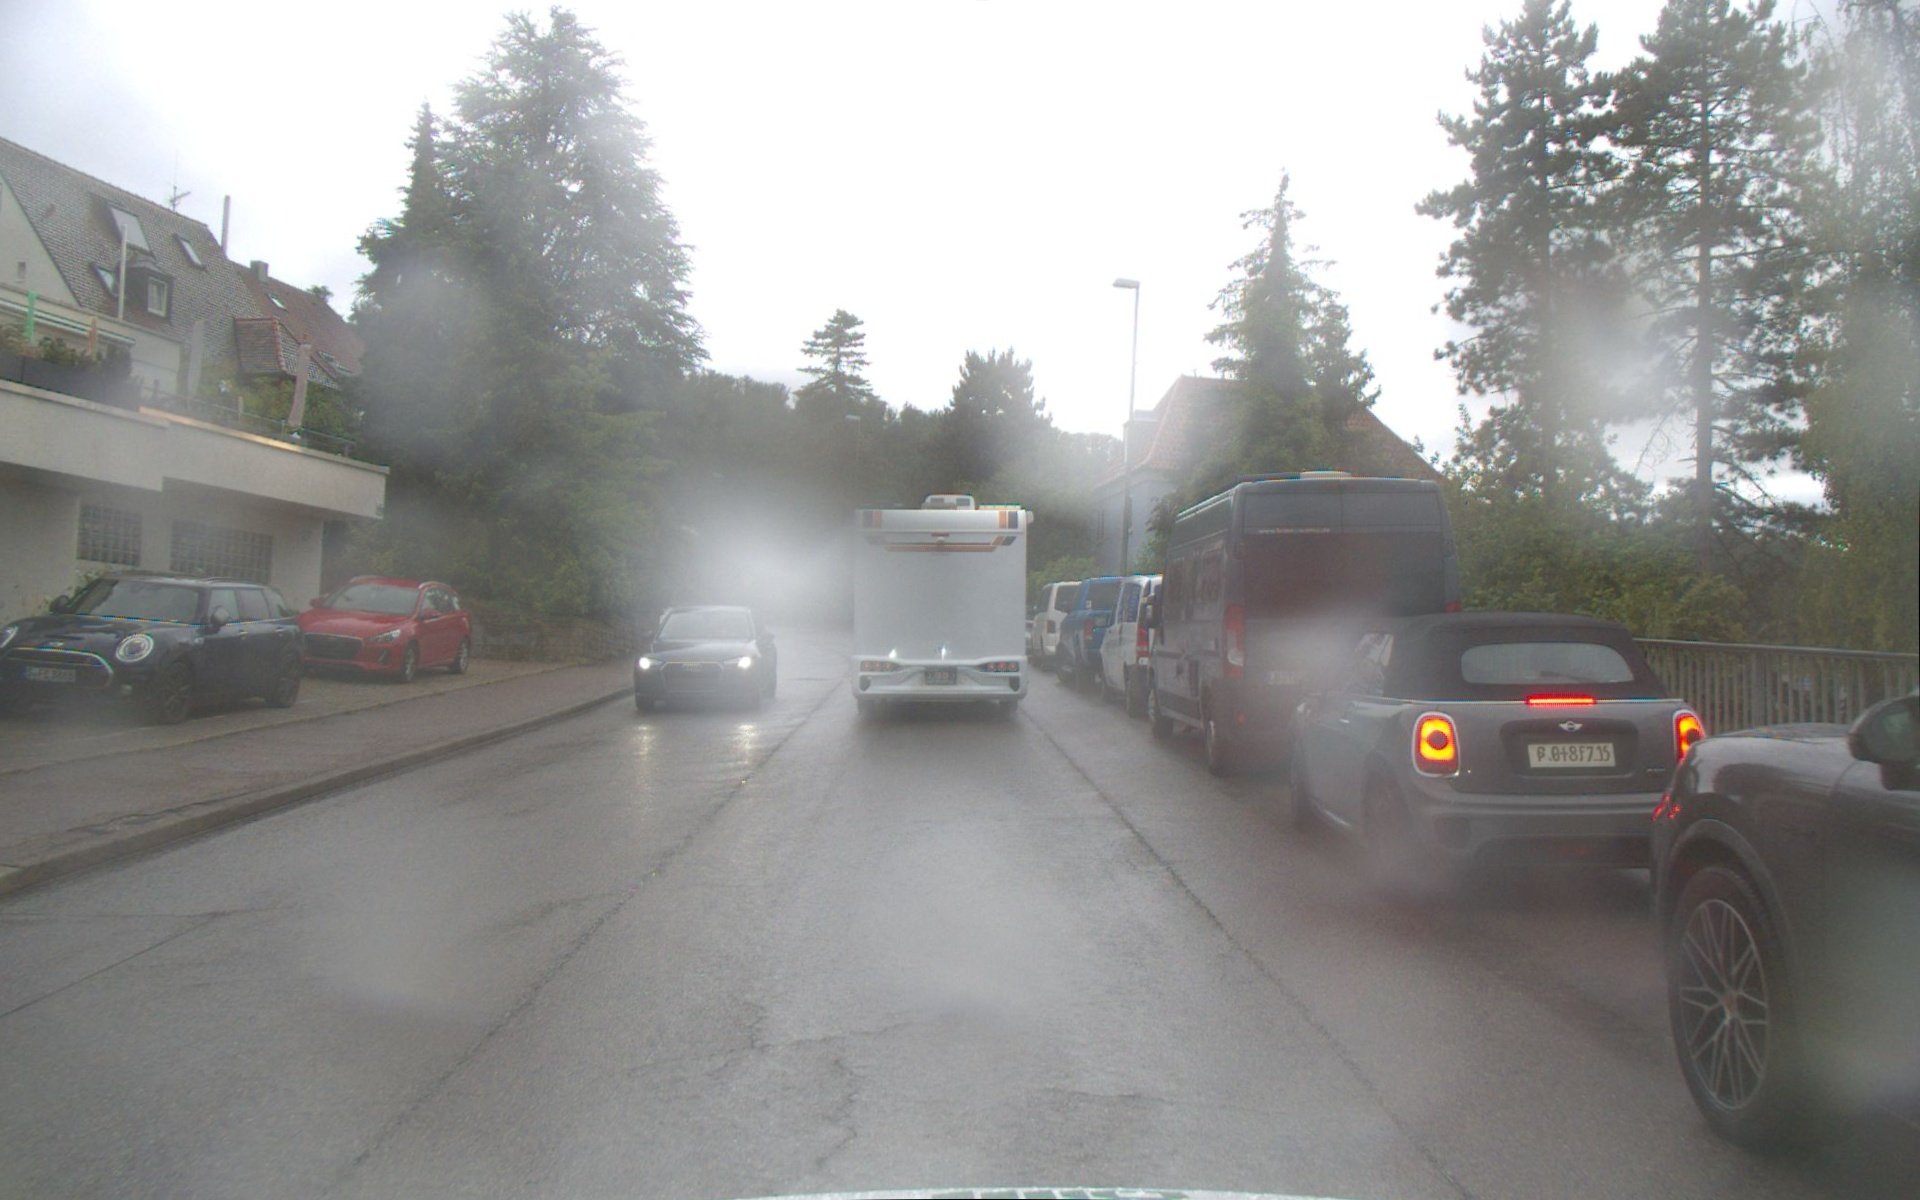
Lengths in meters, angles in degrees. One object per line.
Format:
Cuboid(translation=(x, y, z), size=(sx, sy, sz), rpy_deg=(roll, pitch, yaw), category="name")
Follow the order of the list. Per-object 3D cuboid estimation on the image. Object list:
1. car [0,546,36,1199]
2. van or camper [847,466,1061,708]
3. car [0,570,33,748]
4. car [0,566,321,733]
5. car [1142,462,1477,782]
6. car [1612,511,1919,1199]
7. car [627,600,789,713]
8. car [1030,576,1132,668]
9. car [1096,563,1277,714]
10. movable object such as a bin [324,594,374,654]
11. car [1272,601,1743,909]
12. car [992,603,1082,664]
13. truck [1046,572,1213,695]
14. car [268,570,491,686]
Cuboid(translation=(-2.846, 0.668, 1.334), size=(1.762, 1.594, 4.383), rpy_deg=(1, 0, -1), category="car")
Cuboid(translation=(-0.037, -0.072, 23.413), size=(2.562, 2.903, 6.030), rpy_deg=(2, -2, 1), category="van or camper")
Cuboid(translation=(-8.633, 0.449, 12.011), size=(1.575, 1.459, 3.957), rpy_deg=(4, 0, -2), category="car")
Cuboid(translation=(-8.364, 0.454, 17.393), size=(1.600, 1.420, 4.238), rpy_deg=(4, 0, -1), category="car")
Cuboid(translation=(3.122, 0.180, 16.200), size=(1.990, 2.549, 5.955), rpy_deg=(0, 0, 0), category="car")
Cuboid(translation=(3.085, 0.648, 3.124), size=(1.896, 1.701, 4.694), rpy_deg=(0, 0, 1), category="car")
Cuboid(translation=(-3.627, 0.763, 24.517), size=(1.738, 1.462, 4.361), rpy_deg=(-2, 0, -1), category="car")
Cuboid(translation=(2.743, 0.469, 38.537), size=(1.822, 1.955, 5.077), rpy_deg=(1, 0, -2), category="car")
Cuboid(translation=(3.051, 0.487, 23.346), size=(1.790, 1.874, 5.269), rpy_deg=(0, 0, 0), category="car")
Cuboid(translation=(-11.313, 0.445, 30.656), size=(0.565, 1.074, 0.684), rpy_deg=(2, 0, 10), category="movable object such as a bin")
Cuboid(translation=(2.956, 0.739, 9.753), size=(1.556, 1.454, 3.798), rpy_deg=(0, 0, 1), category="car")
Cuboid(translation=(2.017, 0.860, 44.208), size=(1.654, 1.482, 4.050), rpy_deg=(2, 0, -8), category="car")
Cuboid(translation=(2.895, 0.532, 29.818), size=(2.071, 1.884, 6.615), rpy_deg=(2, 0, -2), category="truck")
Cuboid(translation=(-8.772, 0.387, 25.437), size=(1.739, 1.462, 4.587), rpy_deg=(5, 0, -1), category="car")
